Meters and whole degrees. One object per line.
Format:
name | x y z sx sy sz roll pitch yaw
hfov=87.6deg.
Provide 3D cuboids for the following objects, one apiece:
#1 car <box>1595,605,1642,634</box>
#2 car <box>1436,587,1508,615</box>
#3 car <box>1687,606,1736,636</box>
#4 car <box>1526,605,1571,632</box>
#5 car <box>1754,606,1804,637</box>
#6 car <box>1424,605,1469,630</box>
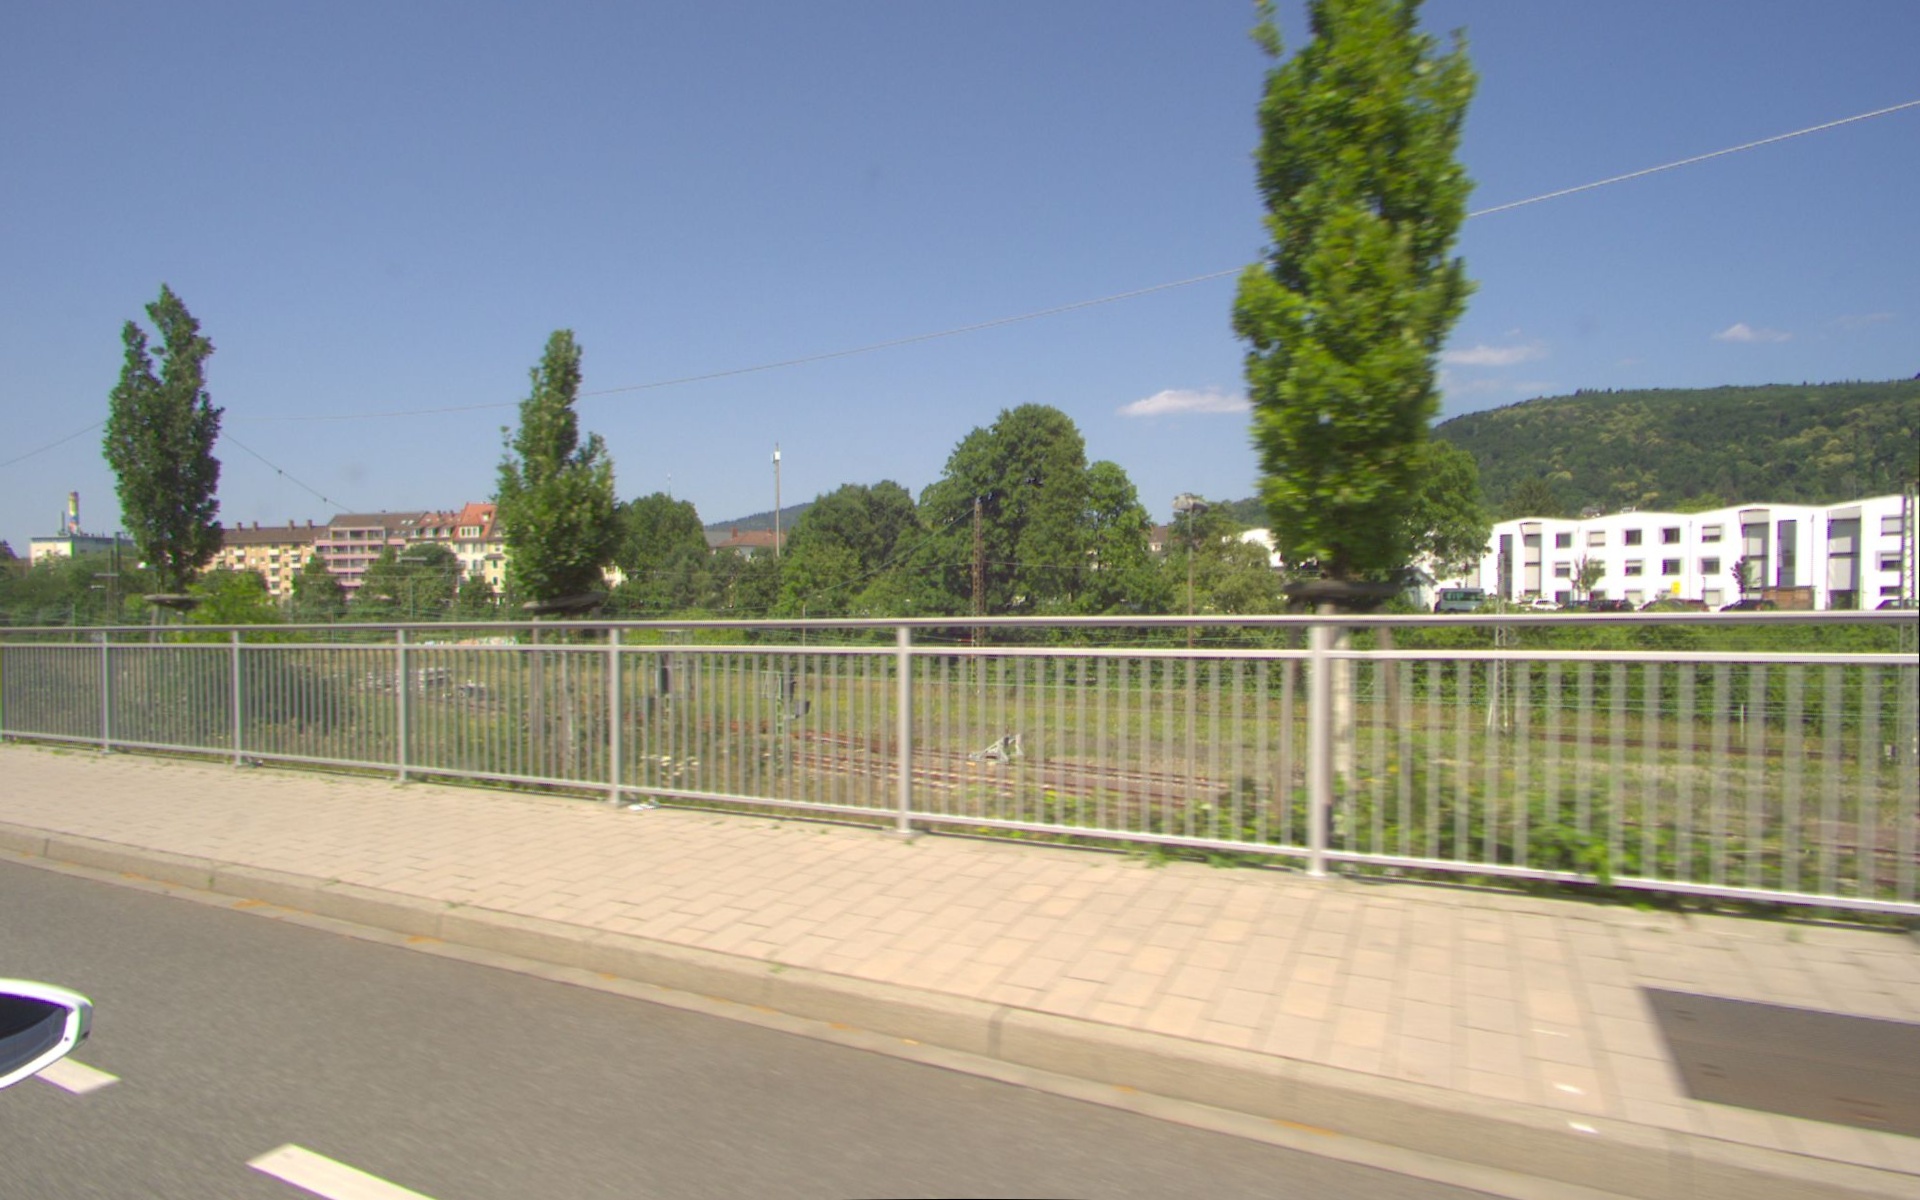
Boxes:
car | 50.098 1.453 76.143 4.423 2.040 1.982 -1 1 -42
car | 40.575 0.100 79.402 4.918 2.141 1.990 0 1 31
car | 53.662 1.440 71.480 4.423 2.040 1.982 -1 1 -42
car | 47.606 1.457 80.975 4.423 2.040 1.982 -1 1 -42
car | 56.022 1.431 68.481 4.423 2.040 1.982 -1 1 -42
car | 41.952 1.483 86.278 4.423 2.040 1.982 -1 1 -42
